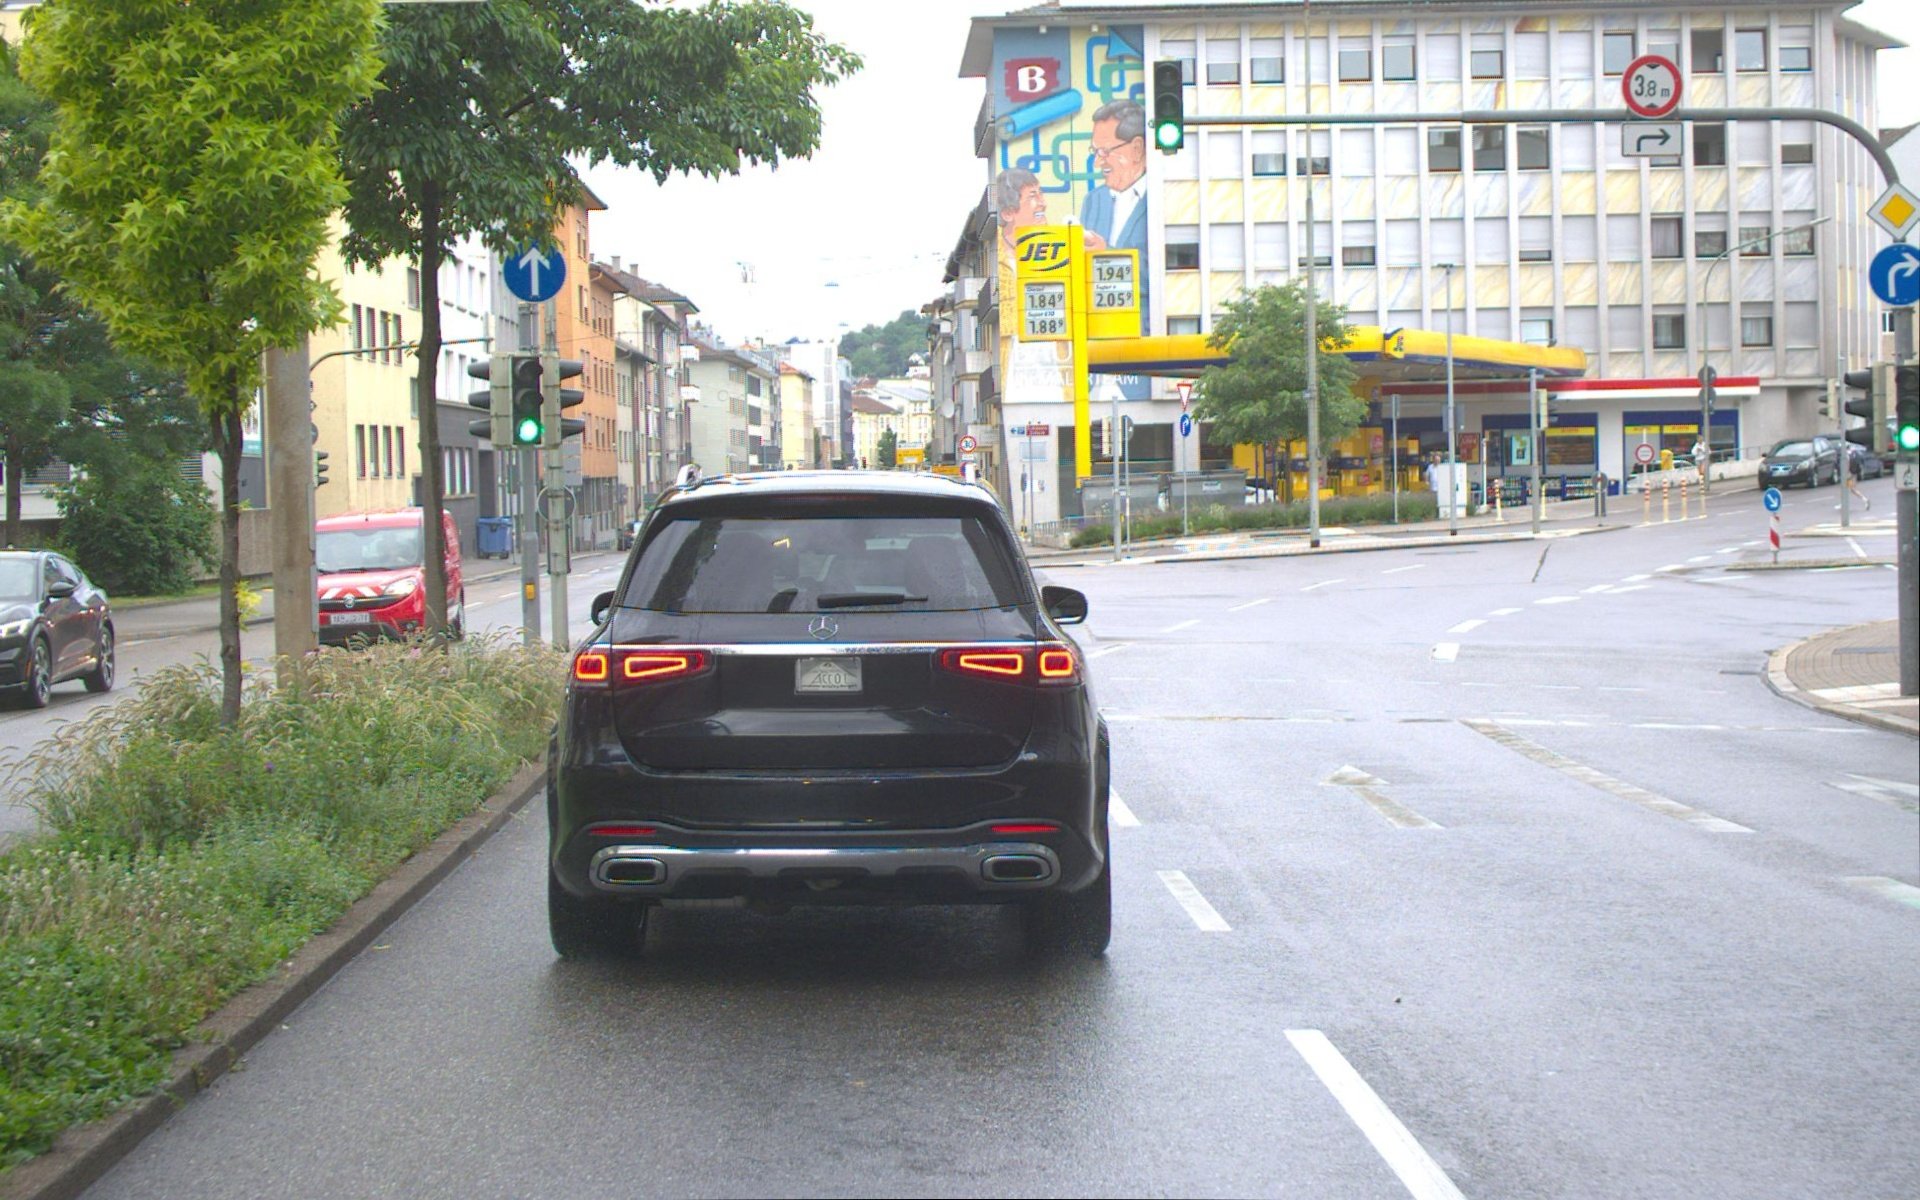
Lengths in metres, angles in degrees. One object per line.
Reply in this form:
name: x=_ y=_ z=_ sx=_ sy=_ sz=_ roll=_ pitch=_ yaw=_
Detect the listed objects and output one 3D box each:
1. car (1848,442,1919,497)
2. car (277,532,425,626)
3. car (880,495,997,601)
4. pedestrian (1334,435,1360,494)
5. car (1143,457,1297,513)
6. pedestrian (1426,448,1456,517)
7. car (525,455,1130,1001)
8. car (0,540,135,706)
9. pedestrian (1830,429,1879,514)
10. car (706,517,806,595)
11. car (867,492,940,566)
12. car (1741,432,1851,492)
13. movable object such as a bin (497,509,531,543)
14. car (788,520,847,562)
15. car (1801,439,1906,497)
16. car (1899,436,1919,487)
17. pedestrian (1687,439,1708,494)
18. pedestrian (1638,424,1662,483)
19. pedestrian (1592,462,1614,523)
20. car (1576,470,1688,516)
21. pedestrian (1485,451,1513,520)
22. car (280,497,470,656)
car: x=30.600 y=-4.260 z=112.109 sx=1.997 sy=1.700 sz=3.993 roll=-1 pitch=2 yaw=33
car: x=-10.644 y=-0.394 z=60.329 sx=1.846 sy=1.424 sz=4.435 roll=-3 pitch=2 yaw=-1
car: x=-0.399 y=-0.889 z=60.781 sx=1.993 sy=1.794 sz=4.000 roll=1 pitch=0 yaw=-1
pedestrian: x=11.374 y=-3.980 z=101.012 sx=0.527 sy=1.721 sz=0.688 roll=0 pitch=2 yaw=29
car: x=7.040 y=-3.126 z=93.424 sx=1.732 sy=1.371 sz=3.997 roll=-3 pitch=2 yaw=-44
pedestrian: x=12.121 y=-2.962 z=86.645 sx=0.526 sy=1.721 sz=0.688 roll=0 pitch=2 yaw=26
car: x=-0.471 y=0.421 z=13.444 sx=1.993 sy=1.794 sz=4.000 roll=1 pitch=0 yaw=-1
car: x=-9.964 y=0.229 z=35.476 sx=1.888 sy=1.581 sz=4.537 roll=-3 pitch=1 yaw=-2
pedestrian: x=22.729 y=-3.261 z=87.384 sx=0.854 sy=2.121 sz=0.948 roll=-2 pitch=1 yaw=-6
car: x=-4.381 y=-0.923 z=74.280 sx=1.993 sy=1.609 sz=4.190 roll=1 pitch=0 yaw=-1
car: x=-1.623 y=-2.002 z=97.996 sx=1.993 sy=2.007 sz=4.000 roll=1 pitch=0 yaw=-2
car: x=25.213 y=-4.175 z=103.604 sx=1.997 sy=1.700 sz=3.993 roll=-1 pitch=2 yaw=33
movable object such as a bin: x=-13.738 y=-2.273 z=105.941 sx=0.910 sy=1.034 sz=0.844 roll=1 pitch=0 yaw=0
car: x=-5.576 y=-2.301 z=135.136 sx=1.993 sy=1.542 sz=4.189 roll=1 pitch=0 yaw=2
car: x=28.069 y=-4.150 z=107.884 sx=1.997 sy=1.700 sz=3.993 roll=-1 pitch=2 yaw=33
car: x=33.644 y=-4.751 z=117.151 sx=1.997 sy=1.700 sz=3.993 roll=-1 pitch=2 yaw=33
pedestrian: x=21.950 y=-3.971 z=102.321 sx=0.484 sy=1.635 sz=0.438 roll=1 pitch=0 yaw=28
pedestrian: x=20.417 y=-4.331 z=101.750 sx=0.526 sy=1.721 sz=0.688 roll=0 pitch=2 yaw=26
pedestrian: x=14.669 y=-2.451 z=78.435 sx=0.396 sy=1.395 sz=0.446 roll=1 pitch=0 yaw=0
car: x=22.078 y=-3.499 z=112.906 sx=1.998 sy=1.393 sz=3.991 roll=1 pitch=0 yaw=38
pedestrian: x=13.361 y=-2.839 z=85.269 sx=0.572 sy=1.692 sz=0.631 roll=1 pitch=0 yaw=0
car: x=-7.502 y=-0.324 z=44.492 sx=1.792 sy=1.847 sz=4.793 roll=-3 pitch=1 yaw=-3
